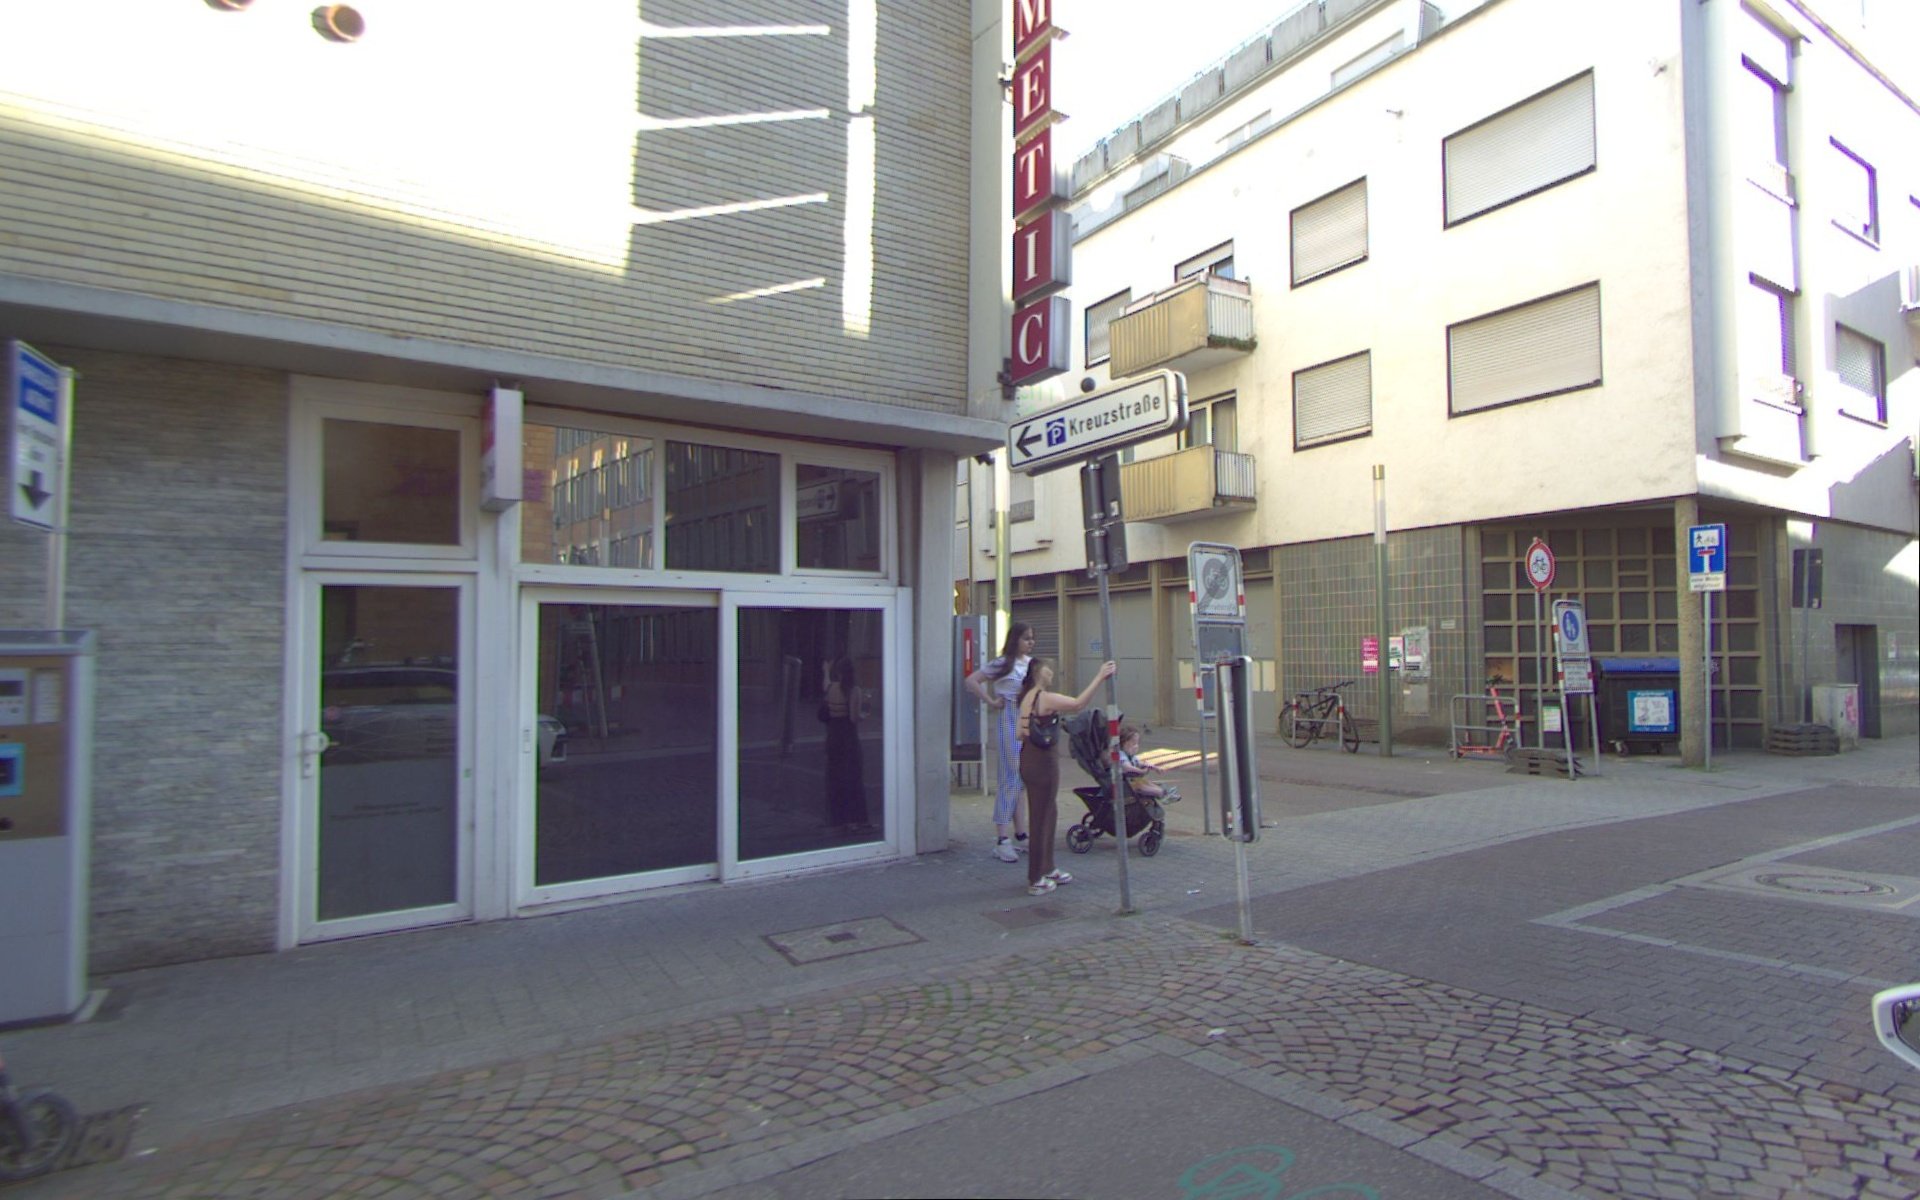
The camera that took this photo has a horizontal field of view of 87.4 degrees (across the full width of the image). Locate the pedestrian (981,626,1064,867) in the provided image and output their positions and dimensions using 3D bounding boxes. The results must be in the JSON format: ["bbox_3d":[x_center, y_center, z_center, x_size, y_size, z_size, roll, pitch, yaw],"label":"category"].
[{"bbox_3d":[0.467,1.082,7.641,0.543,1.761,0.448,0,-2,-9],"label":"pedestrian"}]

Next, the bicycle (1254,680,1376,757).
[{"bbox_3d":[5.828,1.925,16.612,0.709,1.173,1.863,1,-4,-30],"label":"bicycle"}]

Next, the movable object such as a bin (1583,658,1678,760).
[{"bbox_3d":[10.116,1.616,15.184,0.915,1.438,0.885,1,-1,11],"label":"movable object such as a bin"}]

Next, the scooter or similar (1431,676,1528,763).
[{"bbox_3d":[7.653,1.738,14.832,0.474,1.222,1.151,1,-4,-32],"label":"scooter or similar"}]

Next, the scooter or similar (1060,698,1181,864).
[{"bbox_3d":[1.297,1.415,8.069,0.777,1.177,0.634,1,-2,28],"label":"scooter or similar"}]

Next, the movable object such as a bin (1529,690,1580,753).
[{"bbox_3d":[9.244,1.884,15.637,0.526,0.913,0.526,1,-1,11],"label":"movable object such as a bin"}]

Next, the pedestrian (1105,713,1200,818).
[{"bbox_3d":[1.520,1.283,7.909,0.573,0.724,0.646,-1,-3,28],"label":"pedestrian"}]

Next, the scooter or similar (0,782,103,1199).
[{"bbox_3d":[-3.195,1.168,2.755,0.406,1.213,1.120,1,-5,29],"label":"scooter or similar"}]

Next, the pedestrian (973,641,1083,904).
[{"bbox_3d":[0.461,1.108,6.684,0.634,1.647,0.457,0,0,16],"label":"pedestrian"}]
